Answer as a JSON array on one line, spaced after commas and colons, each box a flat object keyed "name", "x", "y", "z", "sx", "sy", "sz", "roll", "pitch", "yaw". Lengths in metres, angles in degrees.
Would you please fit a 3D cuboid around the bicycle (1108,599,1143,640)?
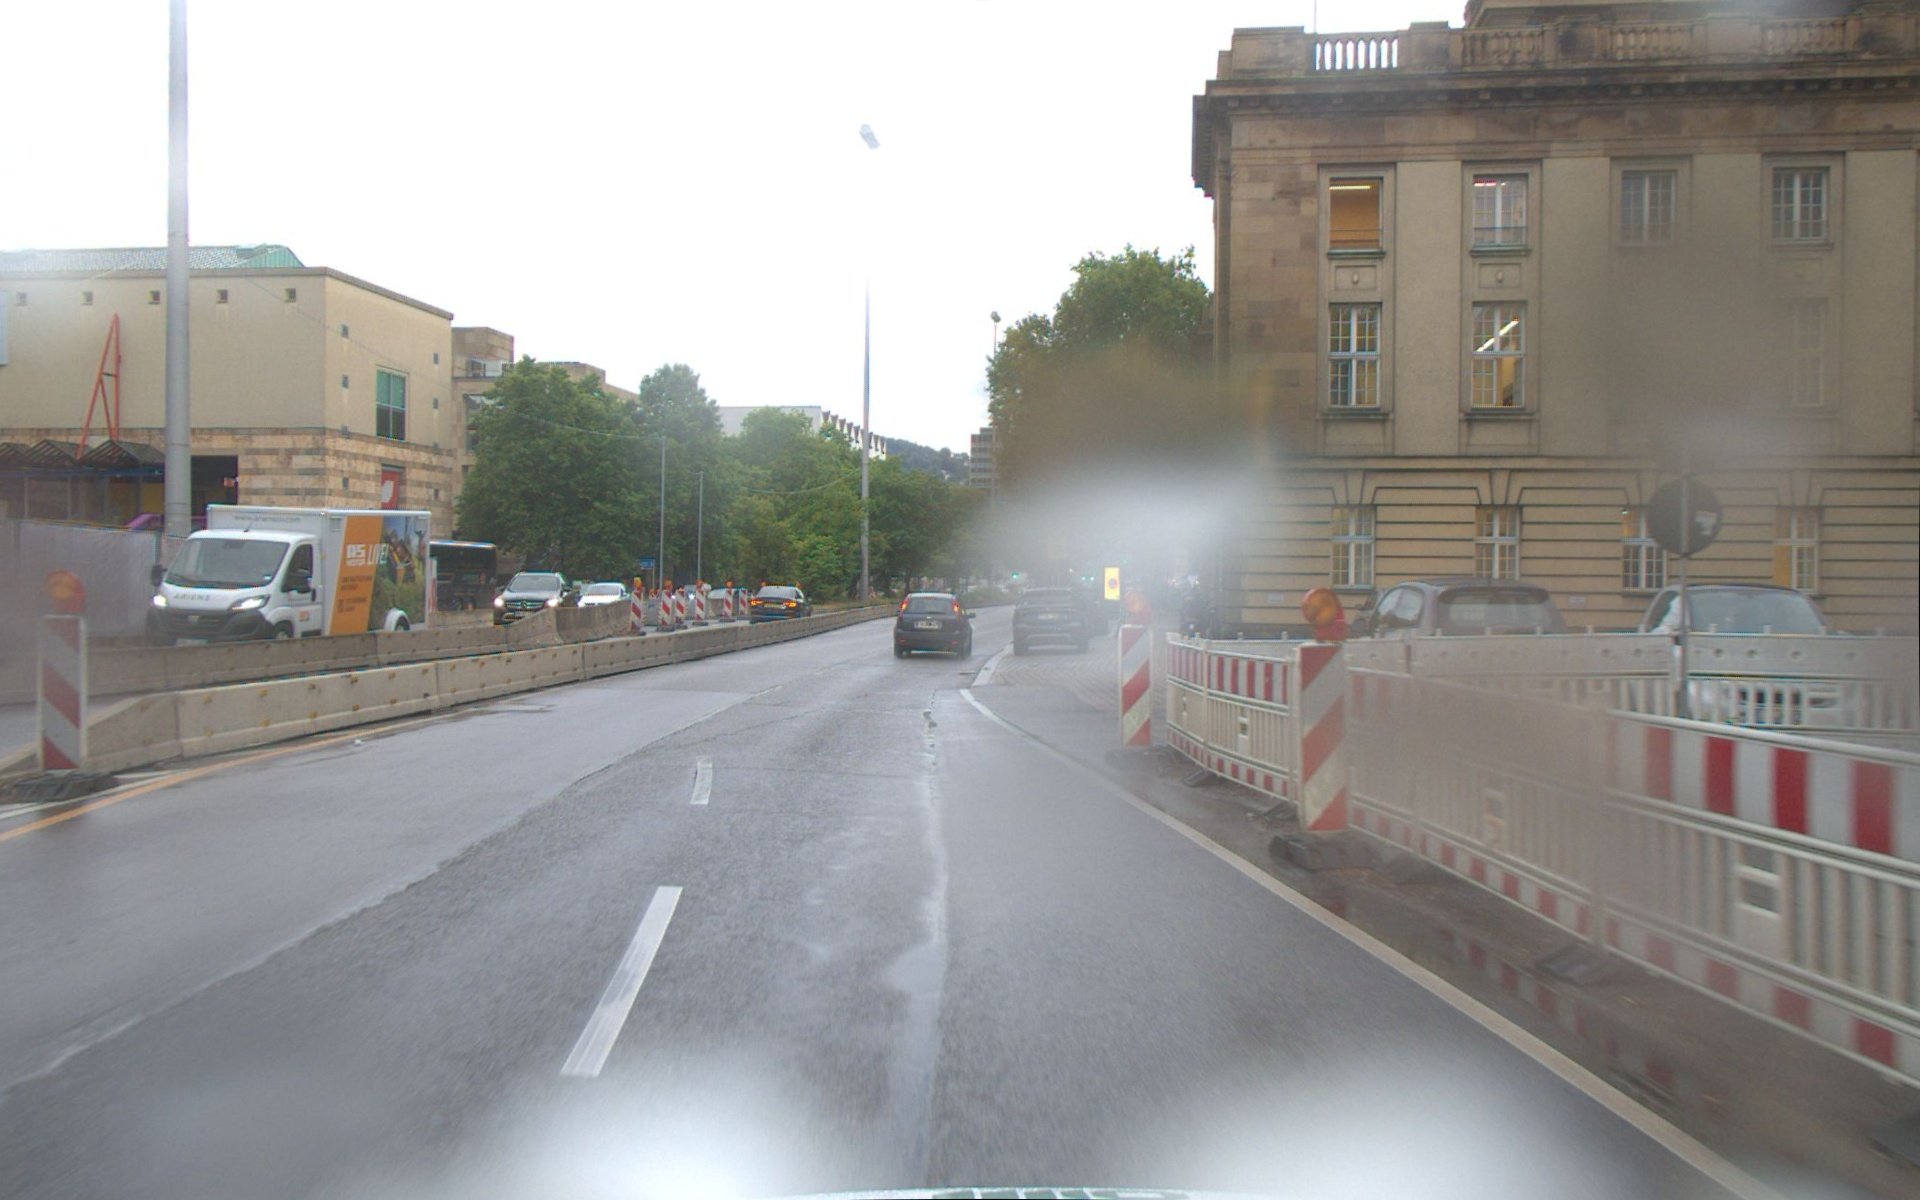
[{"name": "bicycle", "x": 5.231, "y": 0.607, "z": 52.410, "sx": 0.760, "sy": 1.240, "sz": 1.964, "roll": -1, "pitch": 0, "yaw": -4}]

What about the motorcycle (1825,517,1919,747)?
[{"name": "motorcycle", "x": 8.493, "y": 0.273, "z": 14.446, "sx": 0.732, "sy": 1.937, "sz": 2.592, "roll": 0, "pitch": 0, "yaw": 5}]

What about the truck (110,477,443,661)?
[{"name": "truck", "x": -11.550, "y": -0.512, "z": 28.838, "sx": 2.347, "sy": 2.766, "sz": 7.358, "roll": 1, "pitch": 1, "yaw": 3}]

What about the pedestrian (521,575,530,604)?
[{"name": "pedestrian", "x": -31.178, "y": -0.776, "z": 118.586, "sx": 0.467, "sy": 2.049, "sz": 0.512, "roll": -1, "pitch": -1, "yaw": 7}]

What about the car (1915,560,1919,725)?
[{"name": "car", "x": 10.480, "y": 0.434, "z": 14.934, "sx": 1.913, "sy": 1.713, "sz": 4.496, "roll": 0, "pitch": 0, "yaw": 12}]

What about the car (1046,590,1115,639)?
[{"name": "car", "x": 3.698, "y": 0.440, "z": 50.505, "sx": 1.721, "sy": 1.439, "sz": 3.155, "roll": 0, "pitch": 0, "yaw": 11}]

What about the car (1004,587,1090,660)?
[{"name": "car", "x": 2.148, "y": 0.522, "z": 39.735, "sx": 1.831, "sy": 1.647, "sz": 4.407, "roll": 0, "pitch": 0, "yaw": 6}]

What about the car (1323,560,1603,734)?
[{"name": "car", "x": 4.881, "y": 0.441, "z": 16.550, "sx": 1.652, "sy": 1.521, "sz": 3.620, "roll": 1, "pitch": -1, "yaw": -1}]

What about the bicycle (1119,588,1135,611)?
[{"name": "bicycle", "x": 9.197, "y": -0.018, "z": 91.263, "sx": 0.592, "sy": 1.218, "sz": 1.906, "roll": -1, "pitch": -1, "yaw": 14}]

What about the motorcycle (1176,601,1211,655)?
[{"name": "motorcycle", "x": 5.934, "y": 0.697, "z": 41.917, "sx": 0.789, "sy": 1.321, "sz": 1.800, "roll": 1, "pitch": 0, "yaw": 10}]

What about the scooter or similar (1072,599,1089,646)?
[{"name": "scooter or similar", "x": 3.262, "y": 0.611, "z": 44.912, "sx": 0.424, "sy": 1.238, "sz": 1.122, "roll": -1, "pitch": -1, "yaw": 4}]

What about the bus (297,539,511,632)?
[{"name": "bus", "x": -25.780, "y": -0.655, "z": 78.075, "sx": 2.744, "sy": 3.877, "sz": 14.610, "roll": 2, "pitch": 1, "yaw": 10}]

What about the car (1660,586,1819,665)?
[{"name": "car", "x": 16.536, "y": 0.499, "z": 35.324, "sx": 1.779, "sy": 1.566, "sz": 4.512, "roll": 0, "pitch": 0, "yaw": 7}]

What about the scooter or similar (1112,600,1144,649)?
[{"name": "scooter or similar", "x": 4.666, "y": 0.672, "z": 46.071, "sx": 0.426, "sy": 1.315, "sz": 1.252, "roll": 1, "pitch": 0, "yaw": -17}]

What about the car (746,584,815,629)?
[{"name": "car", "x": -6.170, "y": 0.226, "z": 57.236, "sx": 1.718, "sy": 1.477, "sz": 4.001, "roll": -2, "pitch": 0, "yaw": 3}]

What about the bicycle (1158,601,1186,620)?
[{"name": "bicycle", "x": 13.069, "y": 0.644, "z": 101.910, "sx": 1.606, "sy": 1.038, "sz": 0.575, "roll": 3, "pitch": 0, "yaw": 12}]

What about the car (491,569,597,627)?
[{"name": "car", "x": -11.864, "y": -0.069, "z": 47.425, "sx": 1.881, "sy": 1.556, "sz": 4.760, "roll": 1, "pitch": 1, "yaw": -1}]

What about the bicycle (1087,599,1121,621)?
[{"name": "bicycle", "x": 7.313, "y": 0.503, "z": 83.760, "sx": 1.643, "sy": 1.109, "sz": 0.651, "roll": 1, "pitch": 0, "yaw": 9}]

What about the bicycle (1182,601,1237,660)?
[{"name": "bicycle", "x": 5.899, "y": 0.701, "z": 39.201, "sx": 1.079, "sy": 1.340, "sz": 1.859, "roll": 1, "pitch": 0, "yaw": 3}]

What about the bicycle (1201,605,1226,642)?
[{"name": "bicycle", "x": 7.459, "y": 0.681, "z": 48.584, "sx": 0.410, "sy": 1.068, "sz": 1.772, "roll": 1, "pitch": 0, "yaw": 19}]

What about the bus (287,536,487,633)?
[{"name": "bus", "x": -28.028, "y": -0.740, "z": 82.040, "sx": 3.052, "sy": 4.326, "sz": 13.506, "roll": 2, "pitch": 1, "yaw": 10}]

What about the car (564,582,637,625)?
[{"name": "car", "x": -13.650, "y": 0.108, "z": 62.975, "sx": 1.953, "sy": 1.556, "sz": 3.999, "roll": 1, "pitch": 1, "yaw": -1}]

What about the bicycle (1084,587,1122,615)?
[{"name": "bicycle", "x": 7.308, "y": 0.042, "z": 84.337, "sx": 1.865, "sy": 1.356, "sz": 0.651, "roll": 1, "pitch": 0, "yaw": 9}]

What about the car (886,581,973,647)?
[{"name": "car", "x": -0.749, "y": 0.327, "z": 38.173, "sx": 1.807, "sy": 1.441, "sz": 3.836, "roll": -1, "pitch": -1, "yaw": -4}]

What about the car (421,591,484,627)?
[{"name": "car", "x": -21.954, "y": 0.376, "z": 71.639, "sx": 1.558, "sy": 1.526, "sz": 3.216, "roll": -1, "pitch": 0, "yaw": 4}]

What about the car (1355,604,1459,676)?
[{"name": "car", "x": 9.525, "y": 0.825, "z": 35.483, "sx": 1.488, "sy": 1.435, "sz": 4.130, "roll": 1, "pitch": 0, "yaw": 6}]

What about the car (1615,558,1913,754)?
[{"name": "car", "x": 7.035, "y": 0.462, "z": 14.769, "sx": 1.547, "sy": 1.564, "sz": 3.023, "roll": 0, "pitch": -1, "yaw": 9}]

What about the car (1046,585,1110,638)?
[{"name": "car", "x": 4.316, "y": 0.402, "z": 59.841, "sx": 1.951, "sy": 1.812, "sz": 4.192, "roll": 1, "pitch": 0, "yaw": 9}]

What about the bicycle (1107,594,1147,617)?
[{"name": "bicycle", "x": 8.301, "y": 0.254, "z": 82.356, "sx": 1.943, "sy": 1.078, "sz": 0.760, "roll": 1, "pitch": 0, "yaw": 4}]
